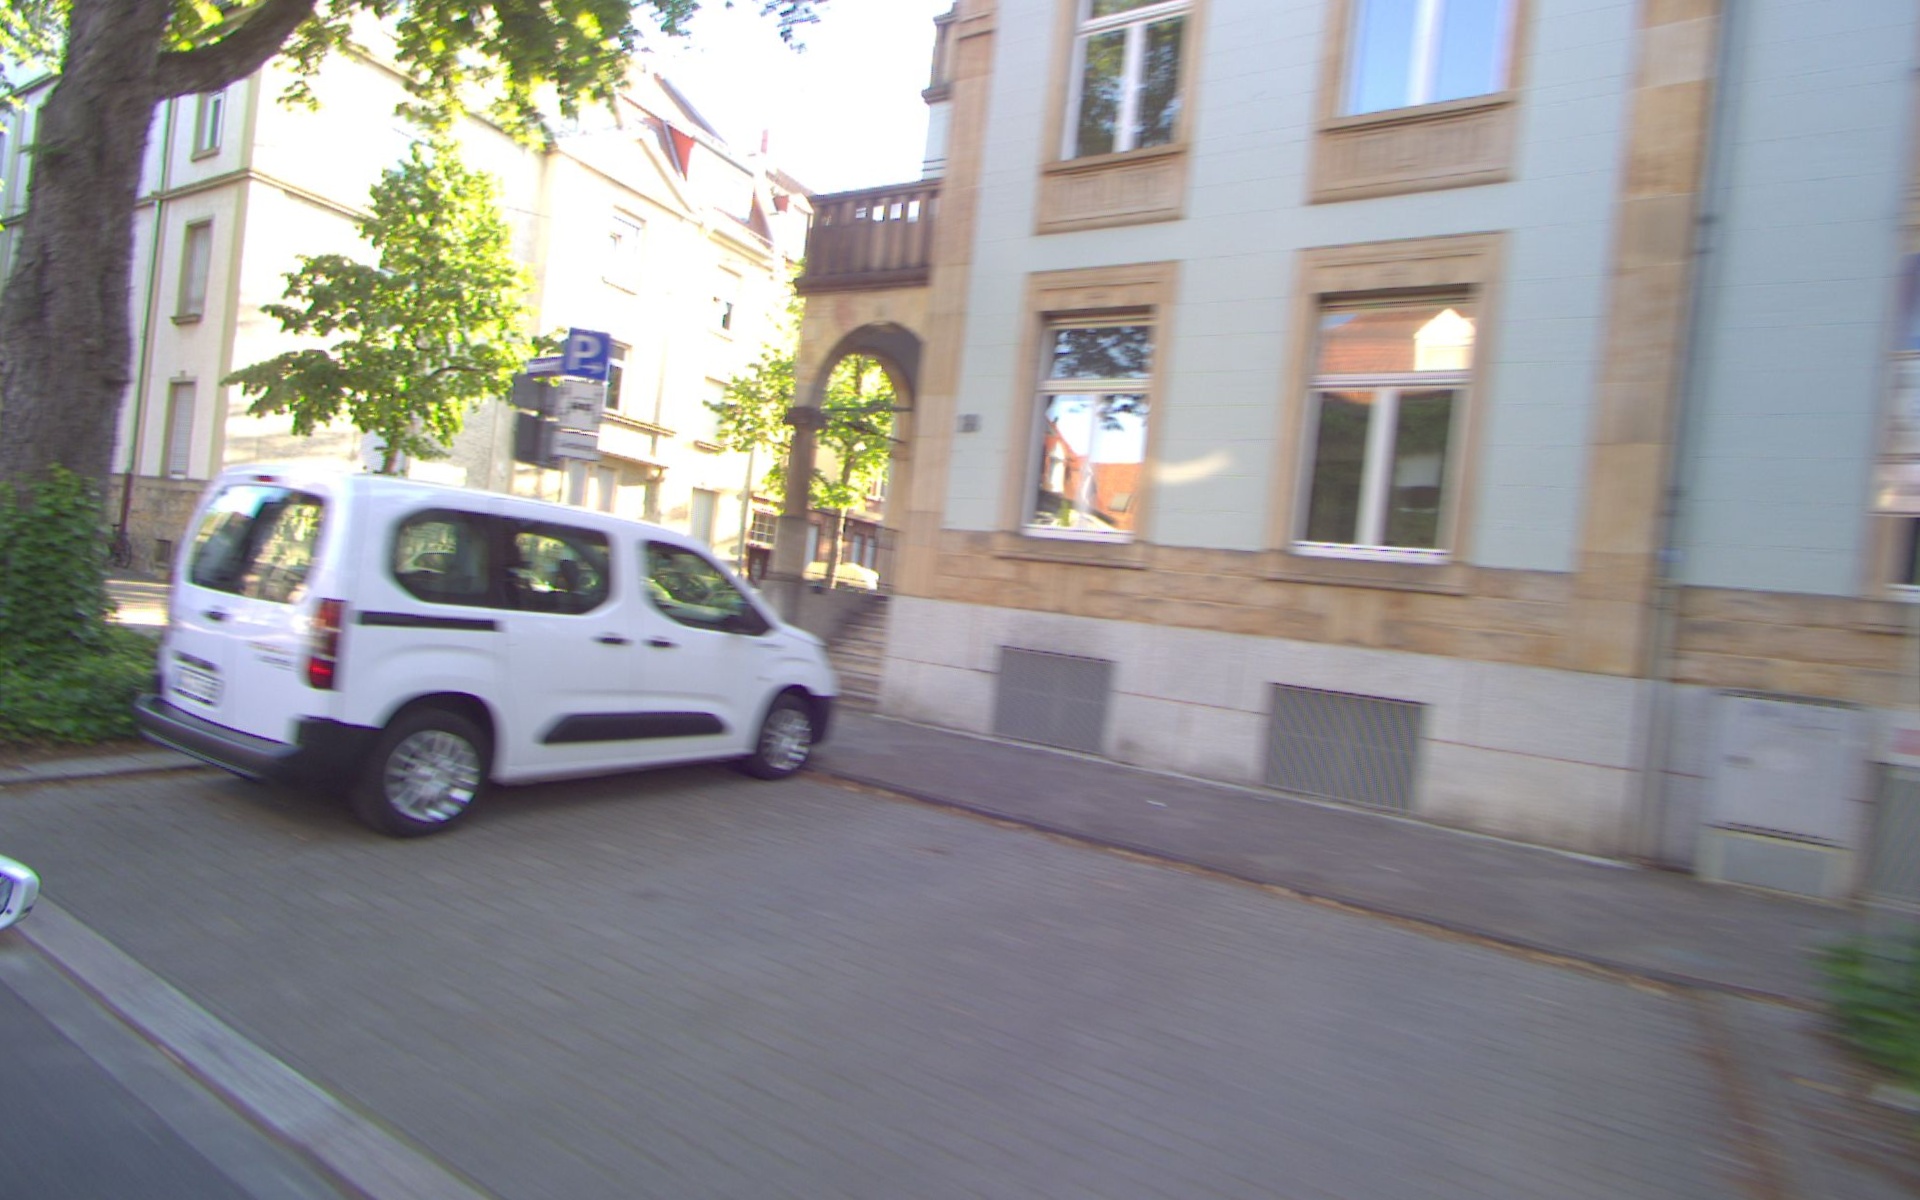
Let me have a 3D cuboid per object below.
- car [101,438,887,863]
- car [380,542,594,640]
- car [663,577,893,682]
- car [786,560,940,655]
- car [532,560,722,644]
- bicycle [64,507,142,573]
[{"bbox_3d":[-2.614,0.252,6.746,1.967,1.830,4.318,7,1,31],"label":"car"},{"bbox_3d":[-9.761,-0.212,20.658,4.394,1.426,1.786,7,0,32],"label":"car"},{"bbox_3d":[-3.133,0.608,18.191,1.628,1.494,4.163,9,0,31],"label":"car"},{"bbox_3d":[-3.134,0.227,32.155,4.447,2.450,1.874,7,1,33],"label":"car"},{"bbox_3d":[-8.117,0.032,24.419,4.454,1.426,1.846,7,0,32],"label":"car"},{"bbox_3d":[-18.841,-1.328,22.102,1.924,1.226,0.585,7,0,30],"label":"bicycle"}]
